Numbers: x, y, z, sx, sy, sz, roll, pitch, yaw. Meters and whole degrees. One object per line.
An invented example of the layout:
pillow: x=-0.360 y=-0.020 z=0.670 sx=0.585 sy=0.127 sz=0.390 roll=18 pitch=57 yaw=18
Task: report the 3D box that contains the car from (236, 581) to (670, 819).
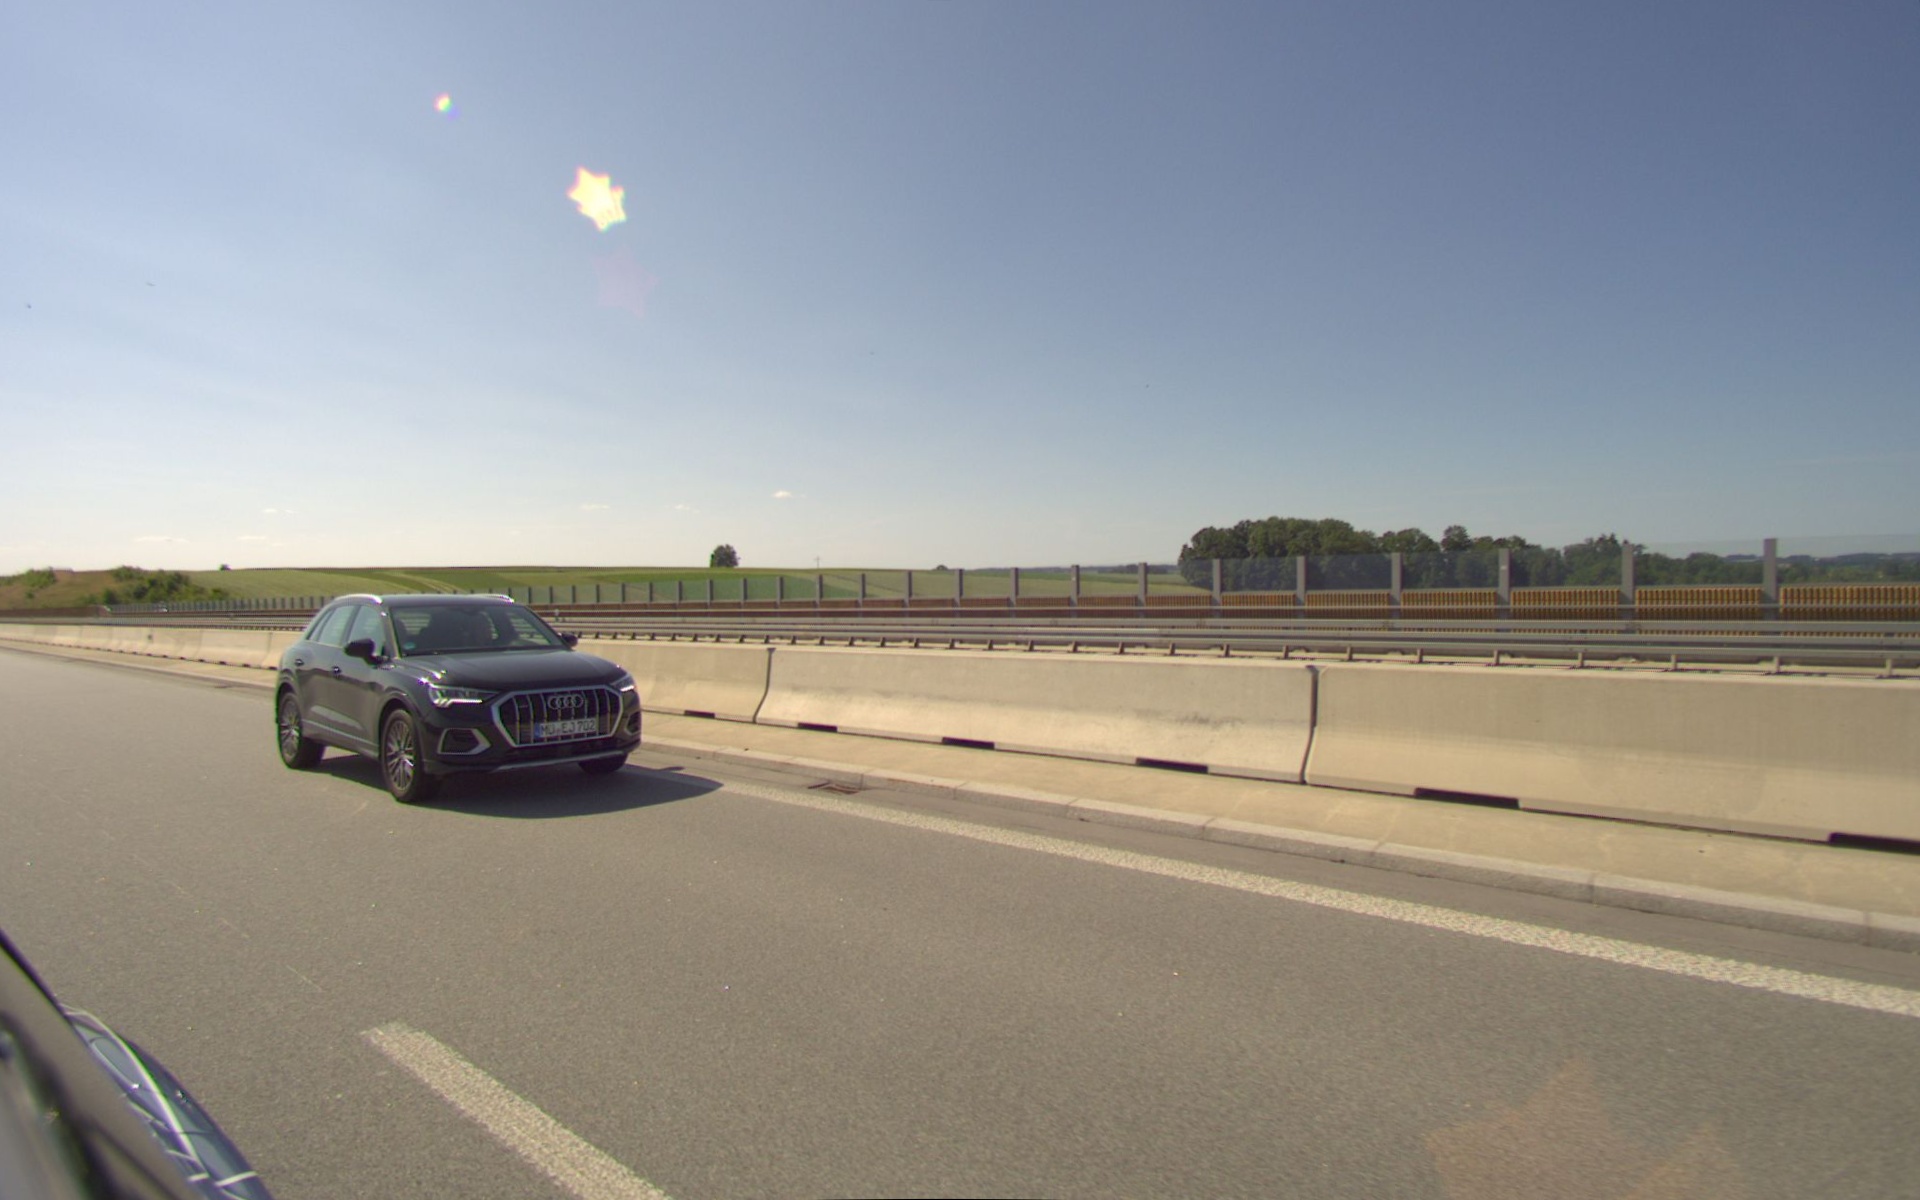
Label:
car: x=-4.833 y=0.691 z=9.176 sx=5.220 sy=1.599 sz=1.704 roll=-1 pitch=0 yaw=42
